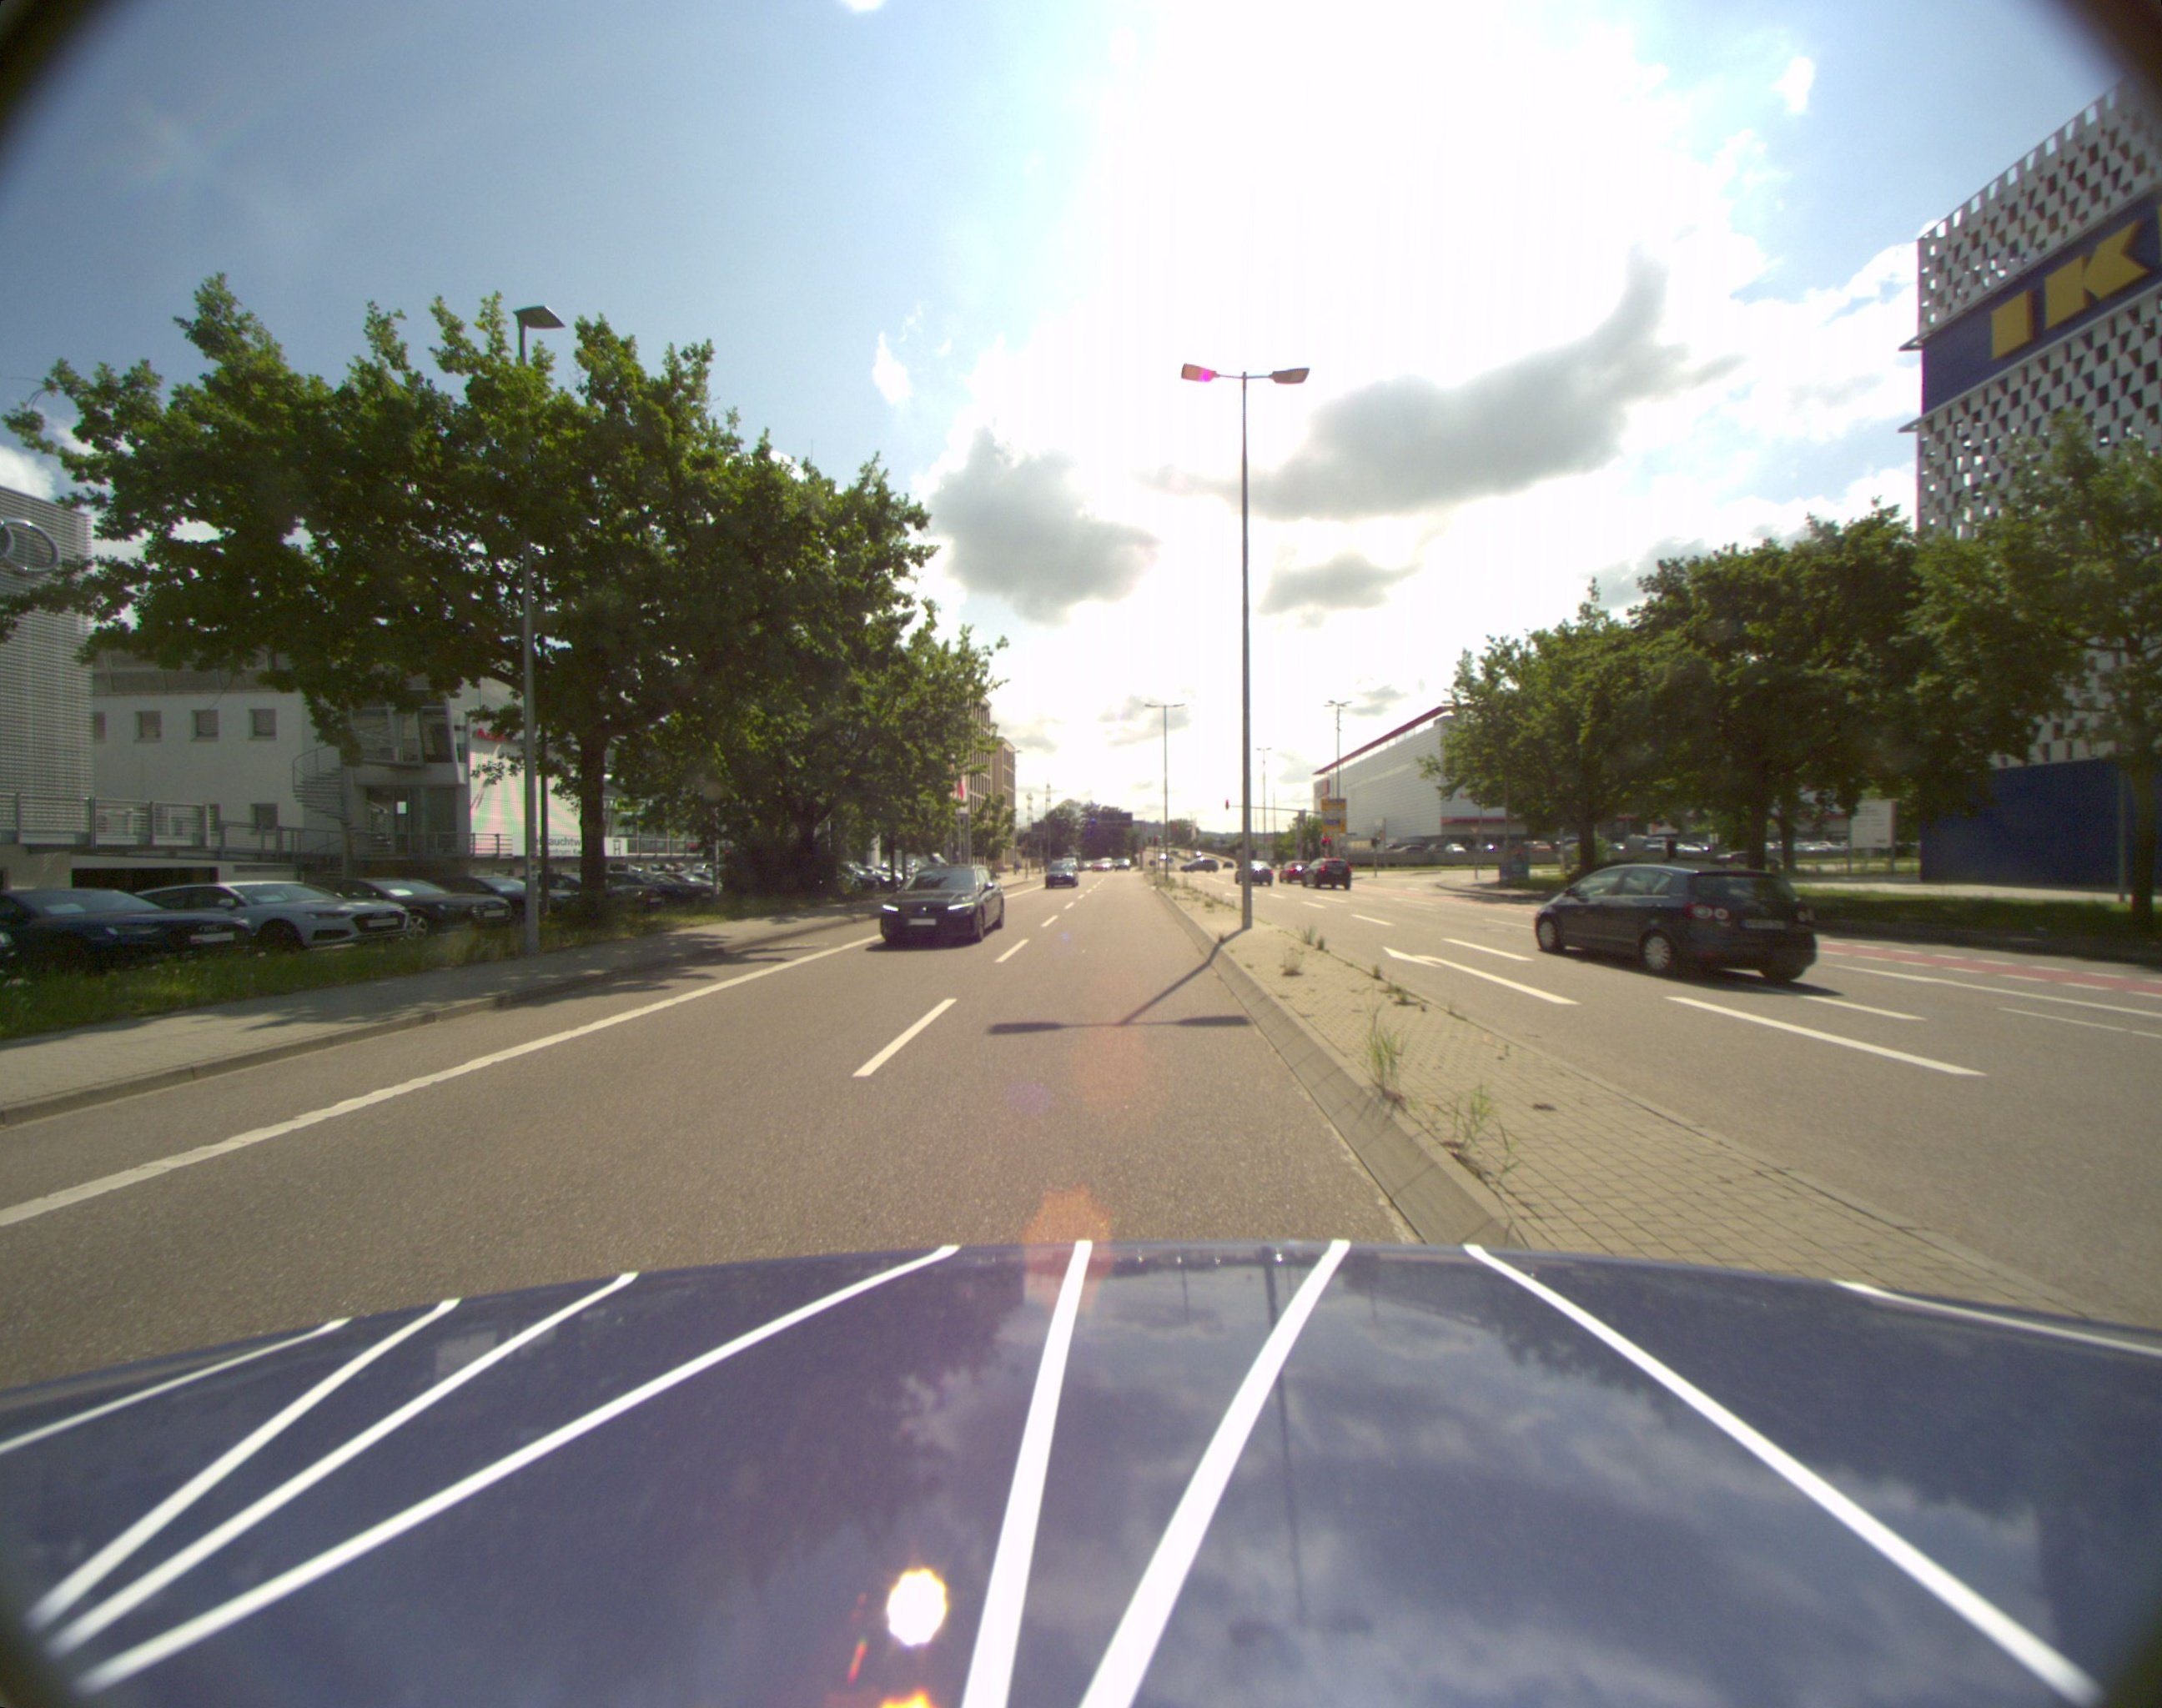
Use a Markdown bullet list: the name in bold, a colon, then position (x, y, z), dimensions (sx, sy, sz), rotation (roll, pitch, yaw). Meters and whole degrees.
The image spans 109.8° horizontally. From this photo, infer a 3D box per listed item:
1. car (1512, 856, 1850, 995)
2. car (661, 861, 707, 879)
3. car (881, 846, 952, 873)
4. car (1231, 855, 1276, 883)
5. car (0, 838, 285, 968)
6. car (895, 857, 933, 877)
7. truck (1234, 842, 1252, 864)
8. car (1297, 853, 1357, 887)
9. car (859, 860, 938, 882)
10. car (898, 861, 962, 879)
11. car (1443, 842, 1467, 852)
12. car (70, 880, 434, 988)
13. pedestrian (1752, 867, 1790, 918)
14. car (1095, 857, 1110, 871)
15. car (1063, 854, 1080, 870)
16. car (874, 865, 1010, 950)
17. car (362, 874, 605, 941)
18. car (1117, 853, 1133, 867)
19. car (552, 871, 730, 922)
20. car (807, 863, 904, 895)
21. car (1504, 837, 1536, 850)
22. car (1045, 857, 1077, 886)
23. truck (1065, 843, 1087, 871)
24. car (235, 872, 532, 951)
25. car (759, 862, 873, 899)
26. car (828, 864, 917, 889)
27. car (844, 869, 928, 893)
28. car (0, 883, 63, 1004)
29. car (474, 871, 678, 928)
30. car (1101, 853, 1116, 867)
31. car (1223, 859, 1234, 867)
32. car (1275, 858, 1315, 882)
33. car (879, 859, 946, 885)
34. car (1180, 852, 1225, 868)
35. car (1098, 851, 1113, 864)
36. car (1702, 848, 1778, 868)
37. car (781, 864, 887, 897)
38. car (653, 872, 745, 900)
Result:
- **car**: position (8.584, 0.890, 11.481), dimensions (1.742, 1.600, 4.241), rotation (3, 0, 1)
- **car**: position (-39.615, 1.604, 75.938), dimensions (1.905, 1.667, 4.593), rotation (-2, -2, 5)
- **car**: position (-16.984, 0.611, 78.456), dimensions (6.853, 2.591, 2.142), rotation (-2, -1, 10)
- **car**: position (10.273, 0.855, 45.575), dimensions (1.777, 1.539, 4.822), rotation (2, 0, 3)
- **car**: position (-14.791, 0.715, 11.060), dimensions (4.585, 1.668, 1.908), rotation (-2, -1, 3)
- **car**: position (-14.692, 1.165, 67.008), dimensions (1.905, 1.667, 4.593), rotation (-2, -2, 5)
- **truck**: position (32.341, -0.114, 151.778), dimensions (3.217, 4.002, 9.082), rotation (-2, -2, 13)
- **car**: position (13.550, 0.844, 42.187), dimensions (1.932, 1.745, 4.822), rotation (2, 0, 3)
- **car**: position (-11.708, 1.090, 48.996), dimensions (4.585, 1.289, 1.908), rotation (-2, -1, 3)
- **car**: position (-11.861, 1.241, 59.928), dimensions (4.585, 1.289, 1.908), rotation (-2, -1, 3)
- **car**: position (59.520, -1.166, 121.074), dimensions (1.953, 1.462, 4.425), rotation (-1, -1, 5)
- **car**: position (-14.584, 1.367, 13.542), dimensions (4.585, 1.668, 1.908), rotation (-2, -1, 3)
- **pedestrian**: position (21.358, 1.180, 23.534), dimensions (0.504, 1.546, 0.761), rotation (-1, 1, 4)
- **car**: position (2.711, 1.289, 95.592), dimensions (1.826, 1.616, 4.213), rotation (-2, -2, 1)
- **car**: position (-1.215, 1.057, 96.636), dimensions (1.998, 1.826, 4.994), rotation (-2, -2, 1)
- **car**: position (-2.695, 0.990, 16.042), dimensions (1.813, 1.469, 5.205), rotation (-1, -1, 1)
- **car**: position (-14.699, 1.292, 18.855), dimensions (4.585, 1.490, 1.907), rotation (-1, 0, 3)
- **car**: position (5.504, 0.777, 95.888), dimensions (1.826, 1.616, 4.213), rotation (-2, -2, 1)
- **car**: position (-13.930, 1.334, 24.237), dimensions (4.585, 1.490, 1.907), rotation (-1, 0, 3)
- **car**: position (-12.118, 1.346, 41.006), dimensions (4.585, 1.289, 1.908), rotation (-5, -2, 3)
- **car**: position (64.421, -1.552, 111.637), dimensions (1.916, 1.739, 4.188), rotation (-1, -2, -6)
- **car**: position (-1.097, 0.984, 43.284), dimensions (1.606, 1.521, 4.270), rotation (-1, -1, 1)
- **truck**: position (-0.602, 0.479, 104.618), dimensions (2.673, 3.533, 9.787), rotation (-2, -2, 1)
- **car**: position (-14.504, 1.169, 15.970), dimensions (4.585, 1.490, 1.907), rotation (-1, 0, 3)
- **car**: position (-12.360, 1.239, 35.646), dimensions (4.585, 1.396, 1.908), rotation (-4, -2, 3)
- **car**: position (-12.013, 1.283, 43.912), dimensions (4.585, 1.289, 1.908), rotation (-2, -1, 3)
- **car**: position (-11.879, 1.651, 46.454), dimensions (4.585, 1.289, 1.908), rotation (-2, -1, 3)
- **car**: position (-14.904, 1.096, 8.557), dimensions (4.585, 1.396, 1.908), rotation (-2, -1, 3)
- **car**: position (-14.266, 1.264, 21.626), dimensions (4.585, 1.490, 1.907), rotation (-1, 0, 3)
- **car**: position (4.109, 0.919, 113.902), dimensions (1.826, 1.826, 4.449), rotation (-2, -2, 7)
- **car**: position (27.563, 1.643, 142.360), dimensions (1.777, 1.469, 4.683), rotation (-1, -1, 9)
- **car**: position (14.001, 1.009, 49.876), dimensions (1.690, 1.474, 4.126), rotation (1, 0, 4)
- **car**: position (-11.422, 1.235, 51.529), dimensions (3.996, 1.455, 1.796), rotation (-4, 0, 3)
- **car**: position (12.528, 0.615, 78.360), dimensions (4.271, 1.521, 1.606), rotation (0, 0, -12)
- **car**: position (3.452, 0.510, 107.170), dimensions (1.826, 1.616, 4.215), rotation (-2, -2, 5)
- **car**: position (55.190, 0.326, 63.700), dimensions (4.582, 1.546, 1.897), rotation (-1, 0, 4)
- **car**: position (-12.291, 1.334, 37.972), dimensions (4.585, 1.375, 1.908), rotation (-3, -2, 3)
- **car**: position (-22.180, 1.857, 44.221), dimensions (4.356, 1.490, 1.907), rotation (-1, 0, 3)
